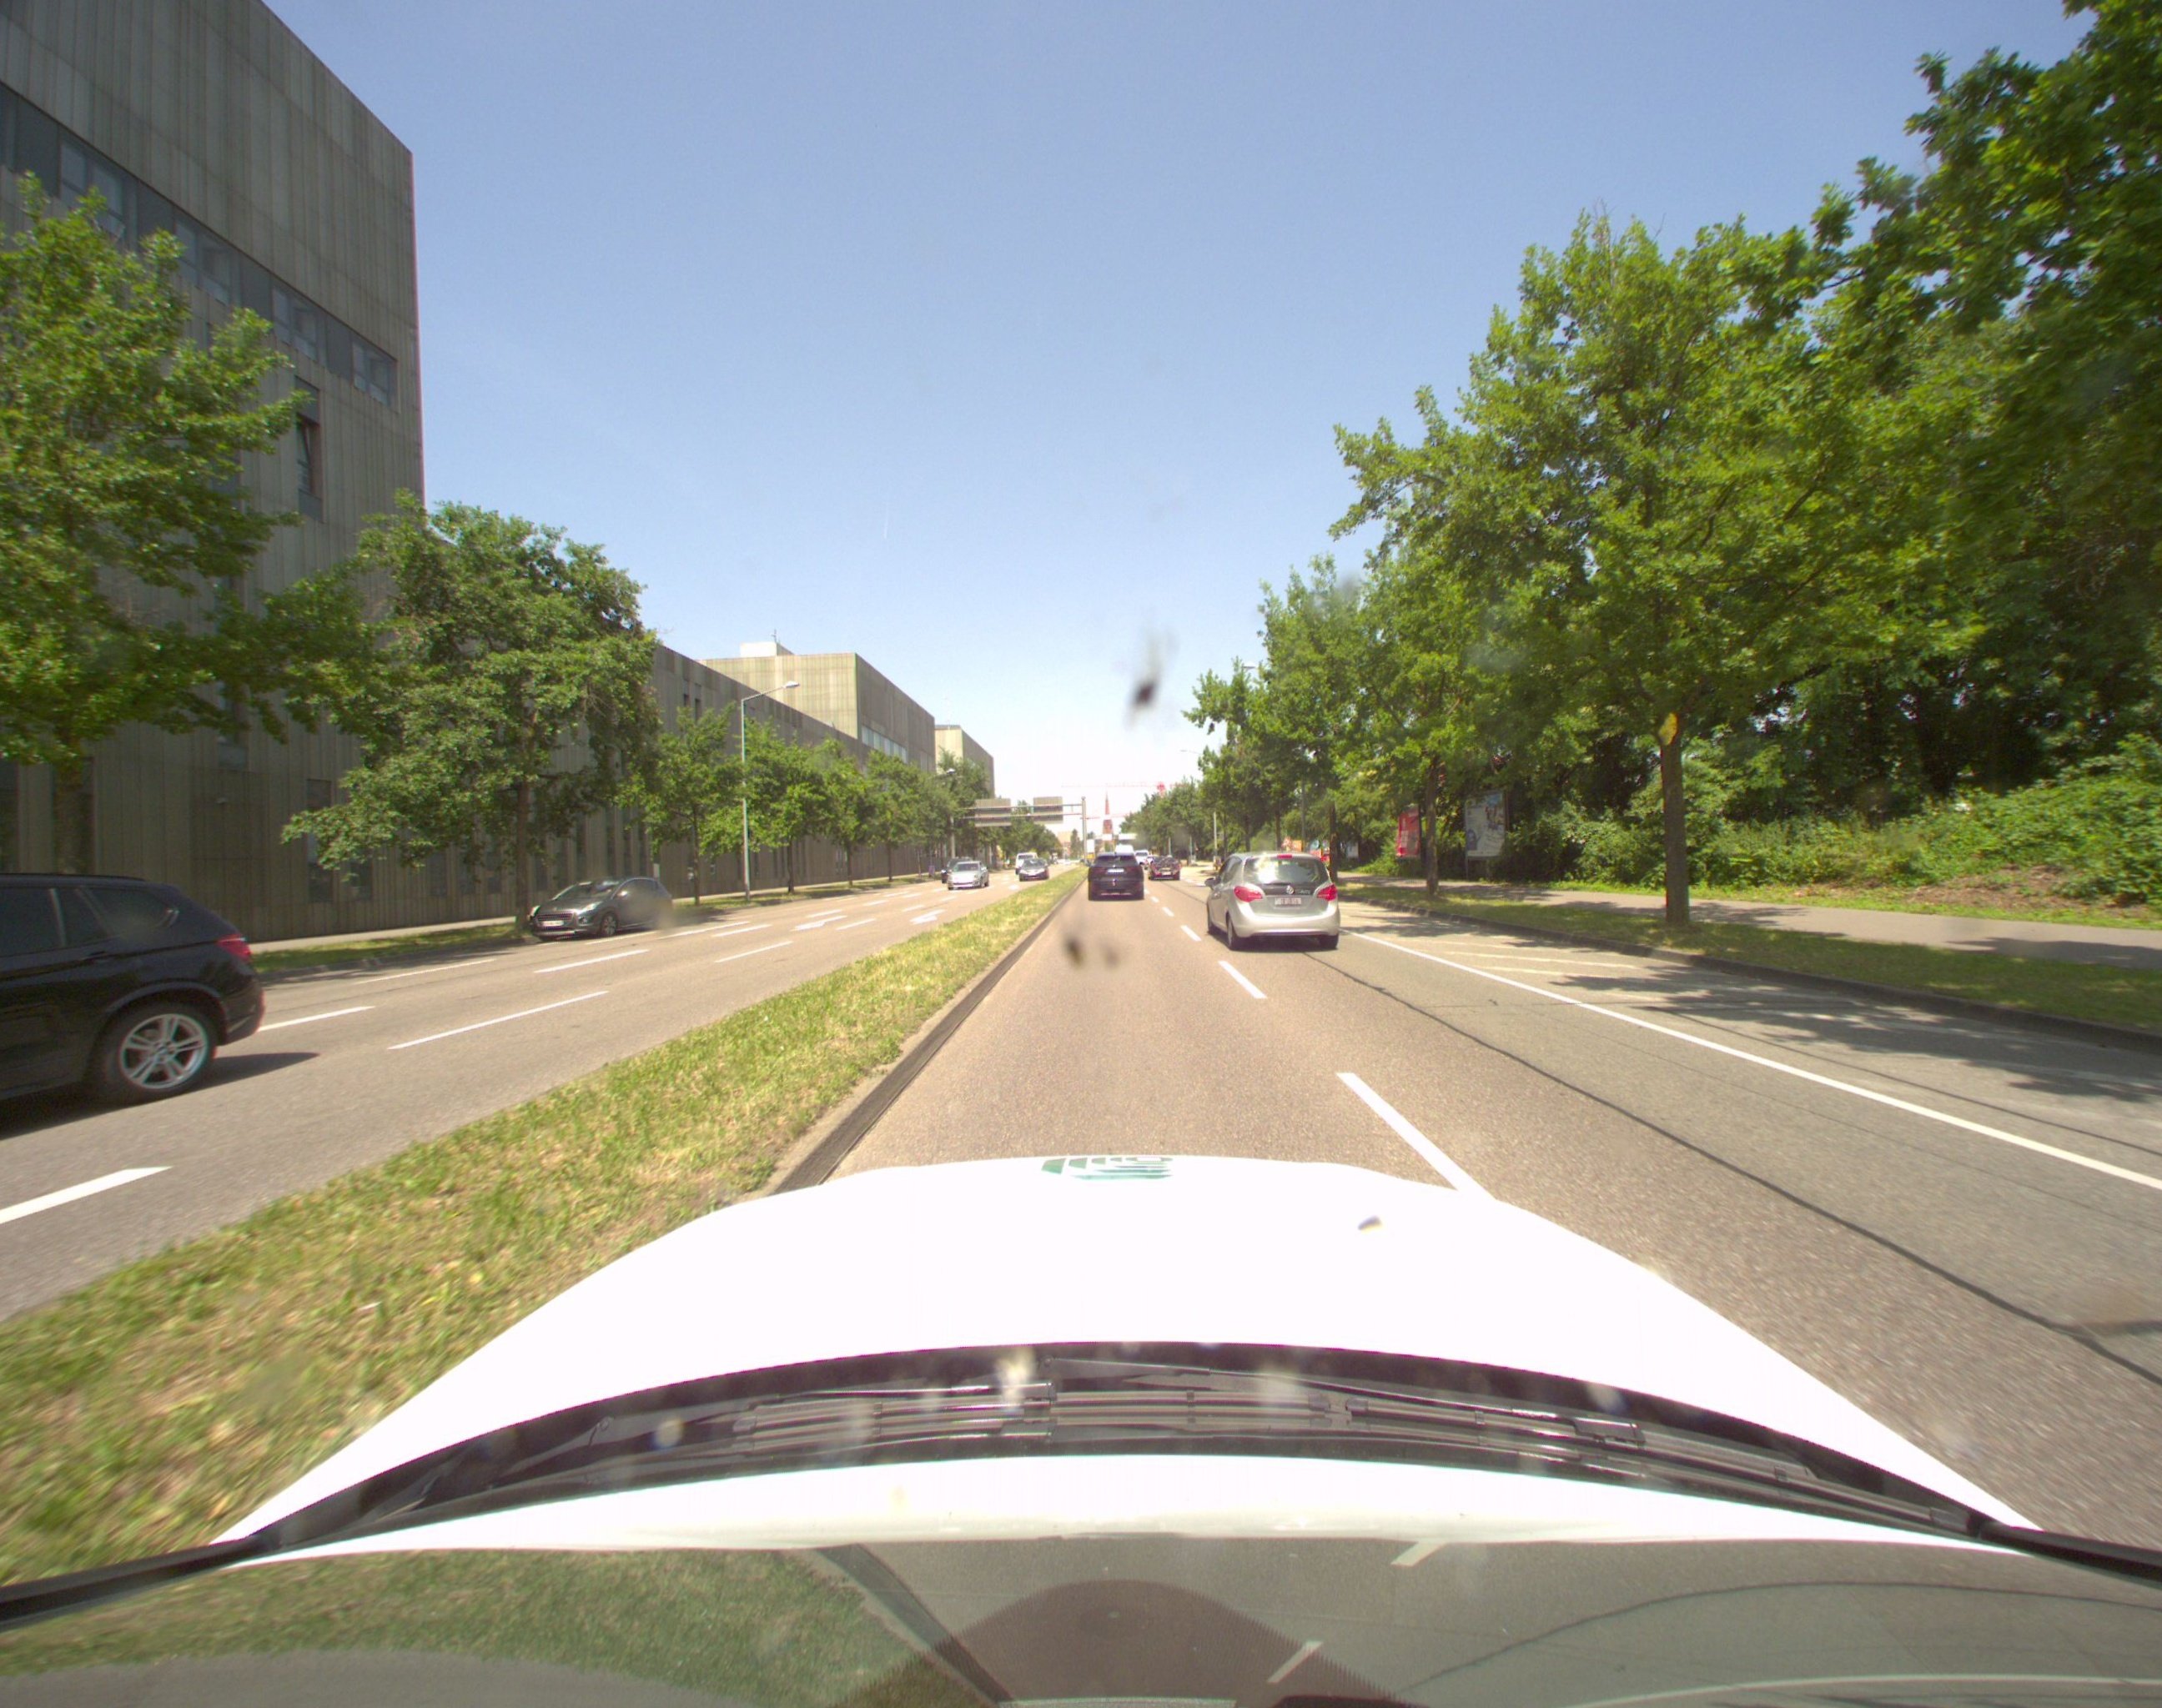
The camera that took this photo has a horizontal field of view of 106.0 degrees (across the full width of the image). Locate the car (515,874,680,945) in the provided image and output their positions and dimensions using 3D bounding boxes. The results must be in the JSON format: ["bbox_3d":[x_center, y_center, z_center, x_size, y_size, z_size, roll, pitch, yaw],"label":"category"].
[{"bbox_3d":[-13.034,1.419,22.314,1.804,1.543,4.369,-4,0,0],"label":"car"}]

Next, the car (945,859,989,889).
[{"bbox_3d":[-6.101,1.036,44.000,1.760,1.460,4.144,-3,0,0],"label":"car"}]

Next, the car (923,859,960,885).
[{"bbox_3d":[-10.048,1.253,58.991,1.804,1.747,4.645,-3,0,0],"label":"car"}]

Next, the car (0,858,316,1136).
[{"bbox_3d":[-7.451,0.925,4.539,1.795,1.663,4.576,-4,0,3],"label":"car"}]

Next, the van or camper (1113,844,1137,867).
[{"bbox_3d":[4.834,0.188,88.624,2.482,2.291,4.926,-2,-1,4],"label":"van or camper"}]

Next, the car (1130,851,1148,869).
[{"bbox_3d":[7.068,0.719,99.362,1.985,2.013,4.003,-2,0,3],"label":"car"}]

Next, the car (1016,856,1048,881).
[{"bbox_3d":[-3.138,0.940,52.760,1.805,1.466,4.055,-3,0,-1],"label":"car"}]

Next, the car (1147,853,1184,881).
[{"bbox_3d":[4.988,0.744,48.621,2.005,1.517,4.465,-2,-1,4],"label":"car"}]

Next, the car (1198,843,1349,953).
[{"bbox_3d":[3.209,0.678,14.349,1.786,1.612,3.892,-2,0,1],"label":"car"}]

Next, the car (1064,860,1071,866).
[{"bbox_3d":[-3.474,2.341,213.912,1.804,1.427,4.358,-3,0,0],"label":"car"}]

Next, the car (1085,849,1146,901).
[{"bbox_3d":[1.266,0.697,29.049,1.989,1.689,4.037,-1,0,3],"label":"car"}]

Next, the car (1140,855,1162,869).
[{"bbox_3d":[7.102,0.790,82.797,1.650,1.356,4.457,-2,-1,-2],"label":"car"}]

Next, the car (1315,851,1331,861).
[{"bbox_3d":[29.316,0.218,98.687,1.372,1.187,3.310,-2,0,8],"label":"car"}]

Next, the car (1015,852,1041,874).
[{"bbox_3d":[-5.129,0.825,78.914,1.902,1.993,4.901,-3,0,2],"label":"car"}]
